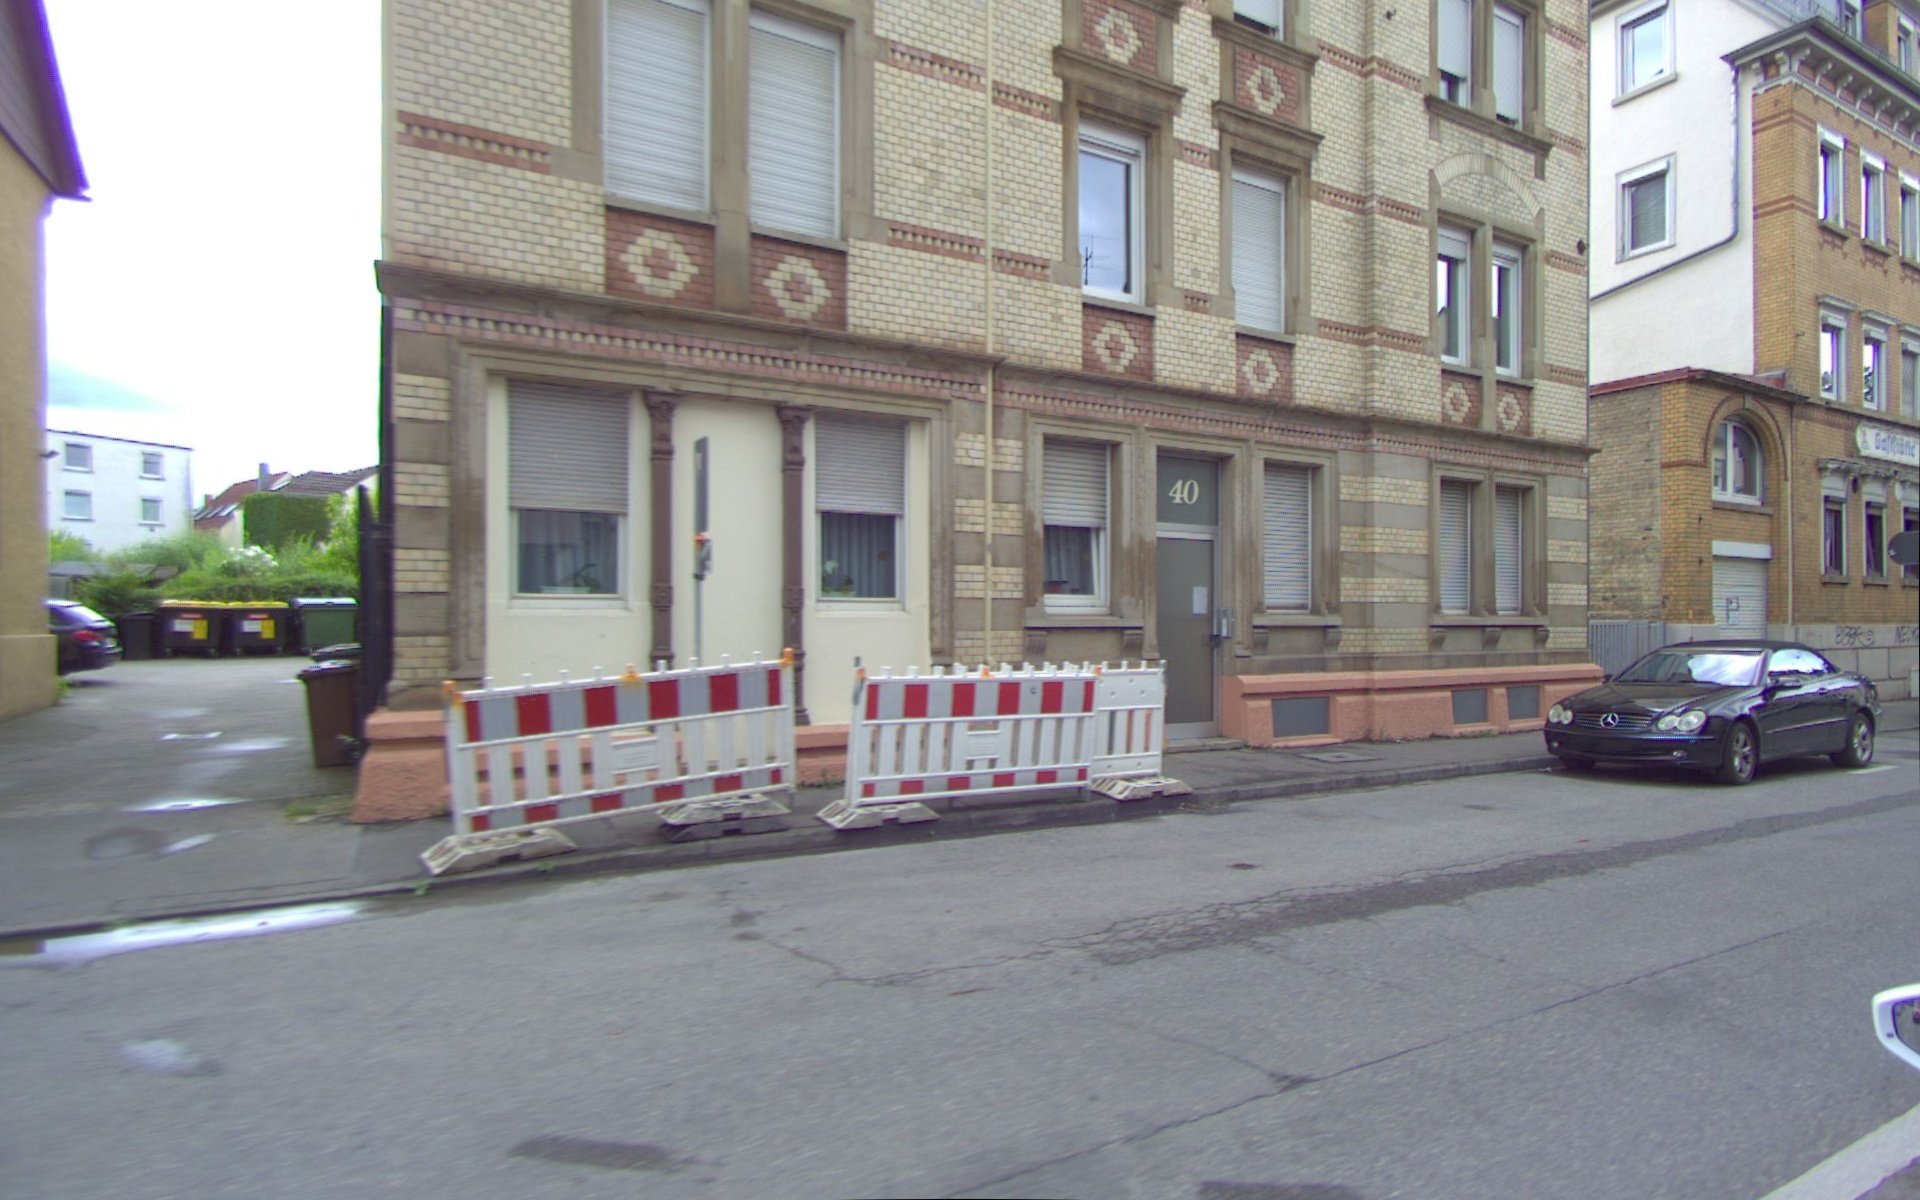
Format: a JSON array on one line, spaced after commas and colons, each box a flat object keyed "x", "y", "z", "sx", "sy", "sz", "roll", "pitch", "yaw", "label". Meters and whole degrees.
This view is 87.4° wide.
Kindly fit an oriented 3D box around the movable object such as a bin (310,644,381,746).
[{"x": -6.868, "y": 1.043, "z": 11.248, "sx": 0.605, "sy": 1.087, "sz": 0.586, "roll": 1, "pitch": -1, "yaw": -27, "label": "movable object such as a bin"}]

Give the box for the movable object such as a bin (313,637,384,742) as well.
[{"x": -7.159, "y": 1.033, "z": 11.782, "sx": 0.653, "sy": 1.172, "sz": 0.584, "roll": 1, "pitch": 0, "yaw": -27, "label": "movable object such as a bin"}]

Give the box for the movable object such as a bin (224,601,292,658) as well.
[{"x": -17.146, "y": 0.720, "z": 24.538, "sx": 0.723, "sy": 1.353, "sz": 1.250, "roll": 0, "pitch": -1, "yaw": 44, "label": "movable object such as a bin"}]

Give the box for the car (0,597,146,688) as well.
[{"x": -16.589, "y": 0.698, "z": 17.022, "sx": 3.943, "sy": 1.483, "sz": 1.793, "roll": 1, "pitch": -1, "yaw": -23, "label": "car"}]

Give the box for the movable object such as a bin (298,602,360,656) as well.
[{"x": -16.087, "y": 0.732, "z": 25.612, "sx": 0.723, "sy": 1.353, "sz": 1.186, "roll": 0, "pitch": -1, "yaw": 44, "label": "movable object such as a bin"}]

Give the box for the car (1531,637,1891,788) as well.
[{"x": 8.404, "y": 1.123, "z": 11.157, "sx": 4.301, "sy": 1.401, "sz": 1.572, "roll": 1, "pitch": -3, "yaw": -29, "label": "car"}]

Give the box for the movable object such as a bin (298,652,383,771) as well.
[{"x": -5.742, "y": 1.013, "z": 9.342, "sx": 0.605, "sy": 1.049, "sz": 0.590, "roll": 1, "pitch": -3, "yaw": -27, "label": "movable object such as a bin"}]

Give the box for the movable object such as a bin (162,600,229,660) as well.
[{"x": -17.988, "y": 0.698, "z": 23.640, "sx": 0.723, "sy": 1.353, "sz": 1.156, "roll": 0, "pitch": -1, "yaw": 44, "label": "movable object such as a bin"}]

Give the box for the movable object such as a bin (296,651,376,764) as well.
[{"x": -6.166, "y": 1.044, "z": 9.957, "sx": 0.605, "sy": 1.049, "sz": 0.590, "roll": 1, "pitch": -1, "yaw": -27, "label": "movable object such as a bin"}]
